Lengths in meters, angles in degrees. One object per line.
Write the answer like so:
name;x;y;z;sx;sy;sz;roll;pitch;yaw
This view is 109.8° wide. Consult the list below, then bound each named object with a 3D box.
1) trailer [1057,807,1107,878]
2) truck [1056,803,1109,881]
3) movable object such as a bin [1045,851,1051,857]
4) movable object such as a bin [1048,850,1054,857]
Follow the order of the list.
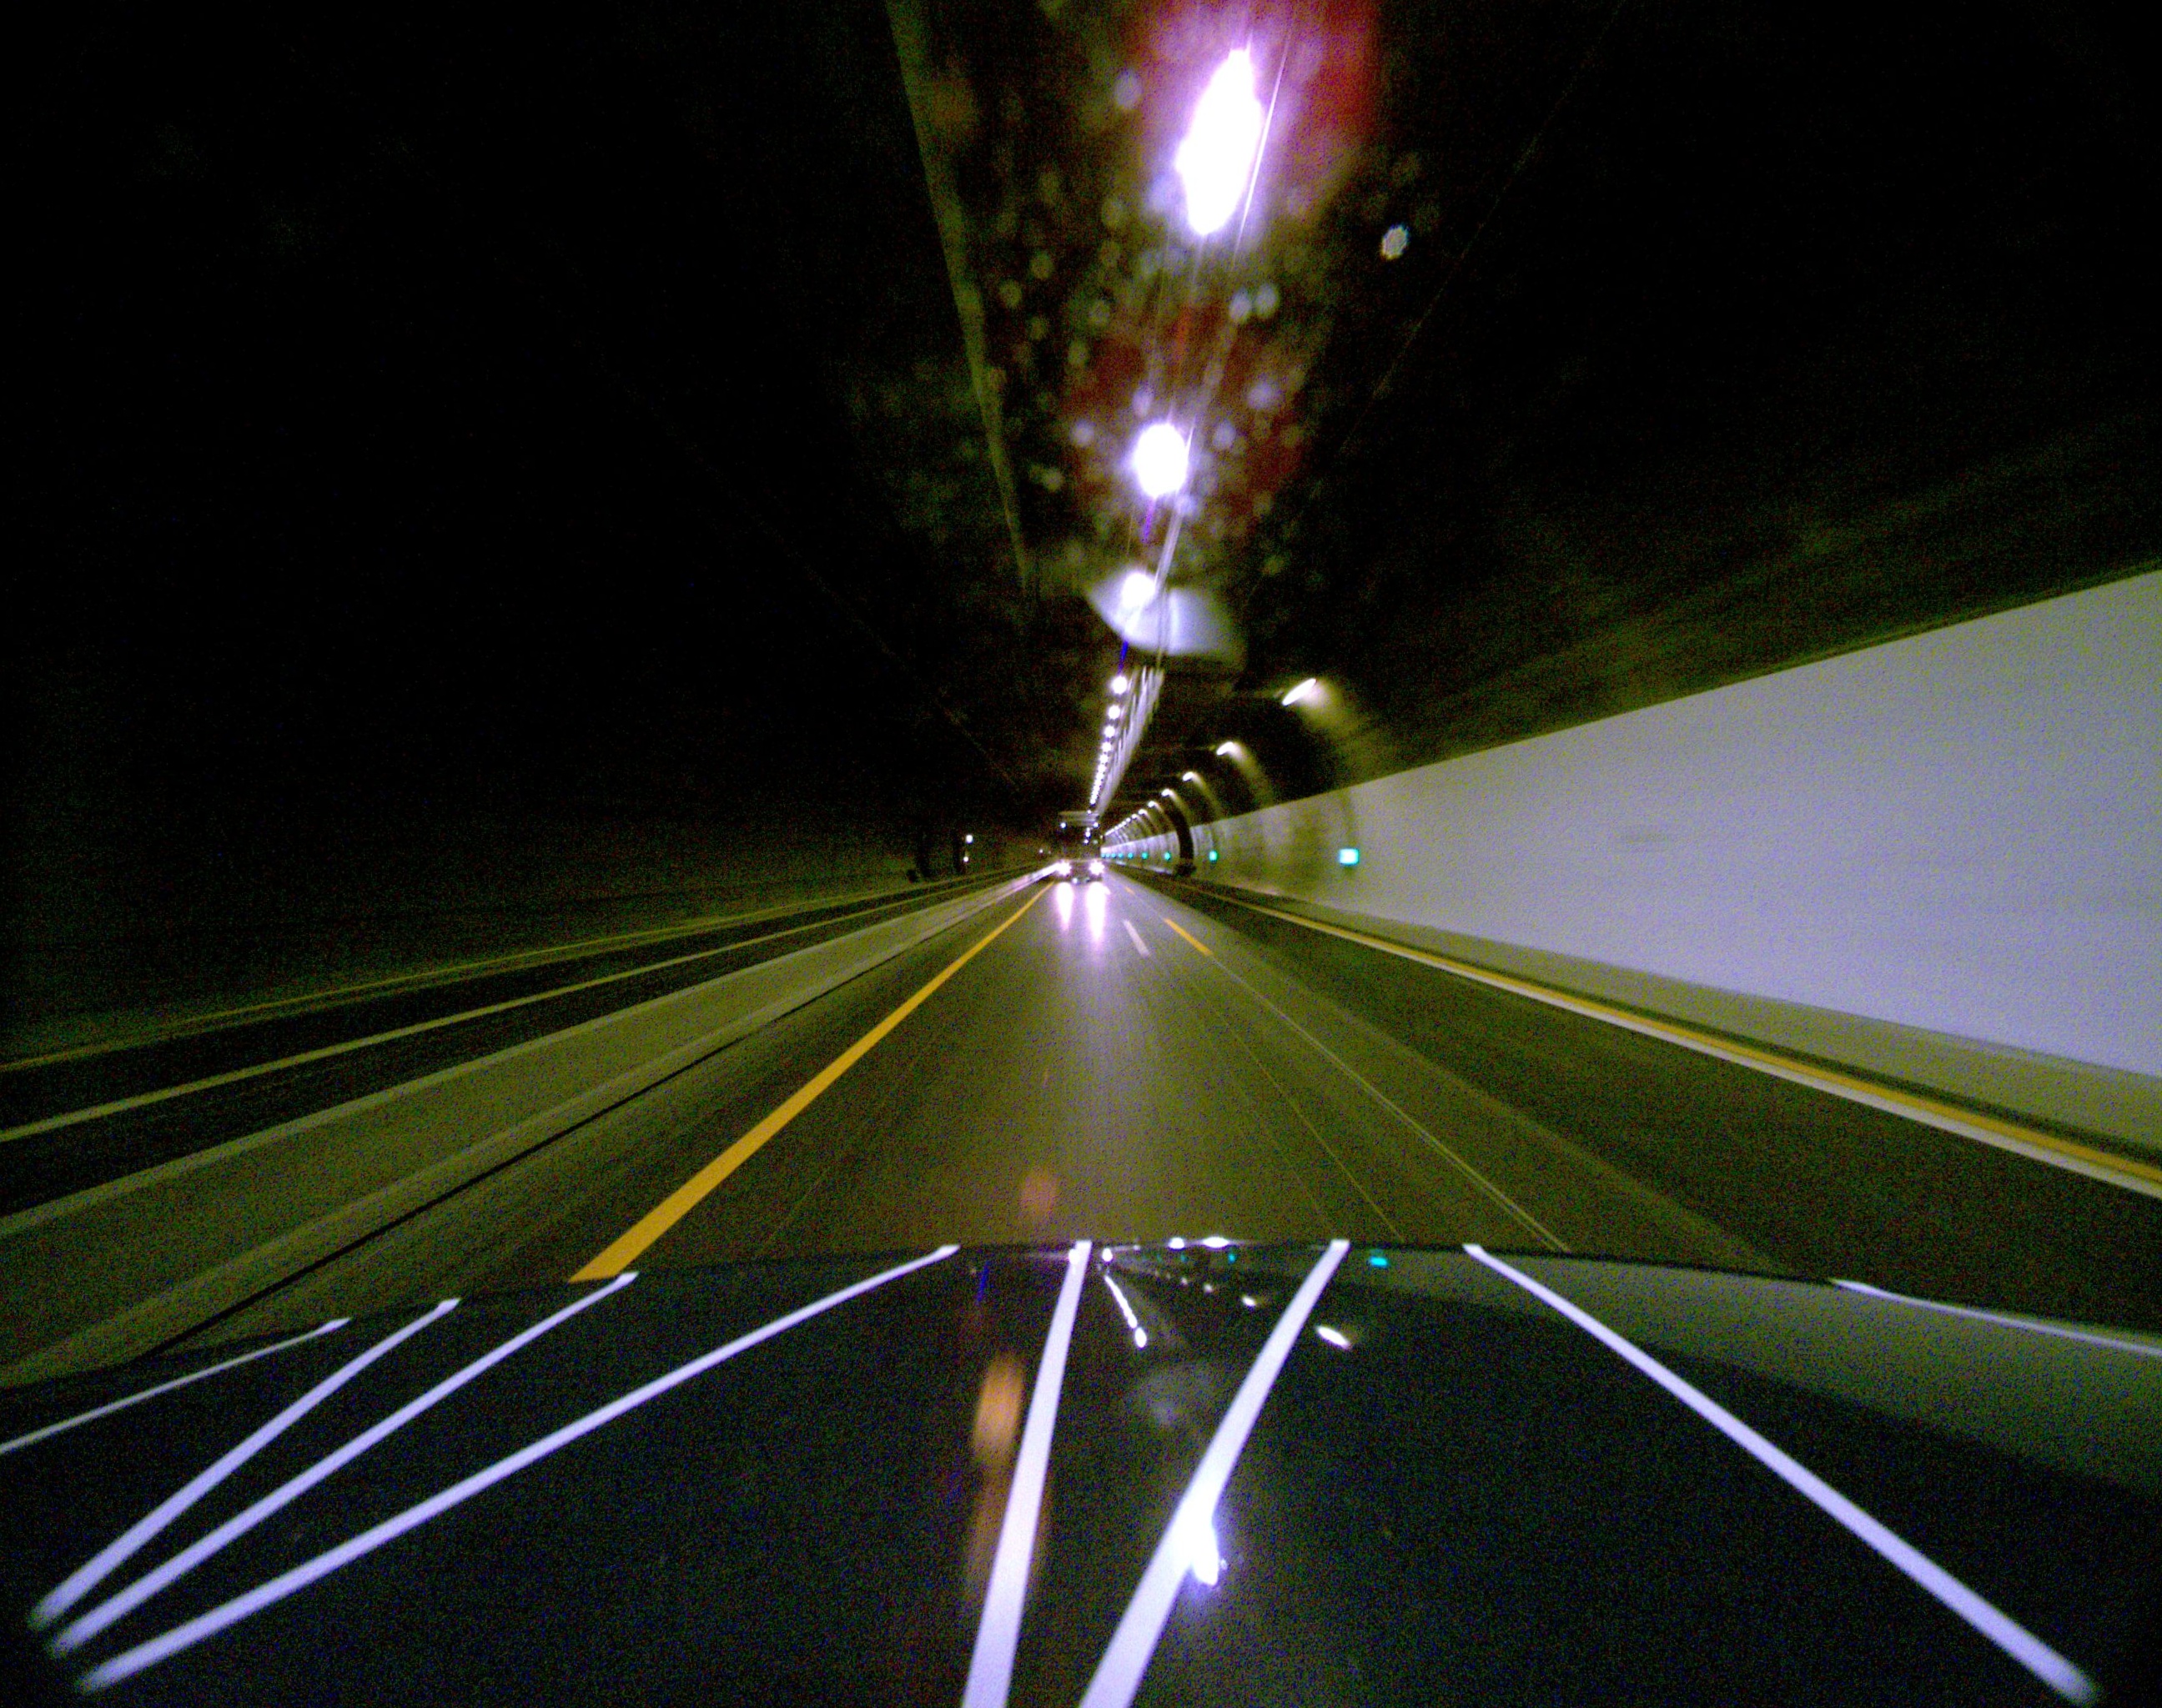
trailer;0.005;-0.752;51.633;2.940;4.316;10.050;-2;1;-1
truck;0.056;-0.707;46.576;2.951;4.338;6.674;-2;1;-1
movable object such as a bin;-10.116;0.021;232.191;1.560;1.699;3.054;-2;1;-1
movable object such as a bin;-8.946;-0.181;226.130;1.688;2.133;4.626;-2;1;-1
